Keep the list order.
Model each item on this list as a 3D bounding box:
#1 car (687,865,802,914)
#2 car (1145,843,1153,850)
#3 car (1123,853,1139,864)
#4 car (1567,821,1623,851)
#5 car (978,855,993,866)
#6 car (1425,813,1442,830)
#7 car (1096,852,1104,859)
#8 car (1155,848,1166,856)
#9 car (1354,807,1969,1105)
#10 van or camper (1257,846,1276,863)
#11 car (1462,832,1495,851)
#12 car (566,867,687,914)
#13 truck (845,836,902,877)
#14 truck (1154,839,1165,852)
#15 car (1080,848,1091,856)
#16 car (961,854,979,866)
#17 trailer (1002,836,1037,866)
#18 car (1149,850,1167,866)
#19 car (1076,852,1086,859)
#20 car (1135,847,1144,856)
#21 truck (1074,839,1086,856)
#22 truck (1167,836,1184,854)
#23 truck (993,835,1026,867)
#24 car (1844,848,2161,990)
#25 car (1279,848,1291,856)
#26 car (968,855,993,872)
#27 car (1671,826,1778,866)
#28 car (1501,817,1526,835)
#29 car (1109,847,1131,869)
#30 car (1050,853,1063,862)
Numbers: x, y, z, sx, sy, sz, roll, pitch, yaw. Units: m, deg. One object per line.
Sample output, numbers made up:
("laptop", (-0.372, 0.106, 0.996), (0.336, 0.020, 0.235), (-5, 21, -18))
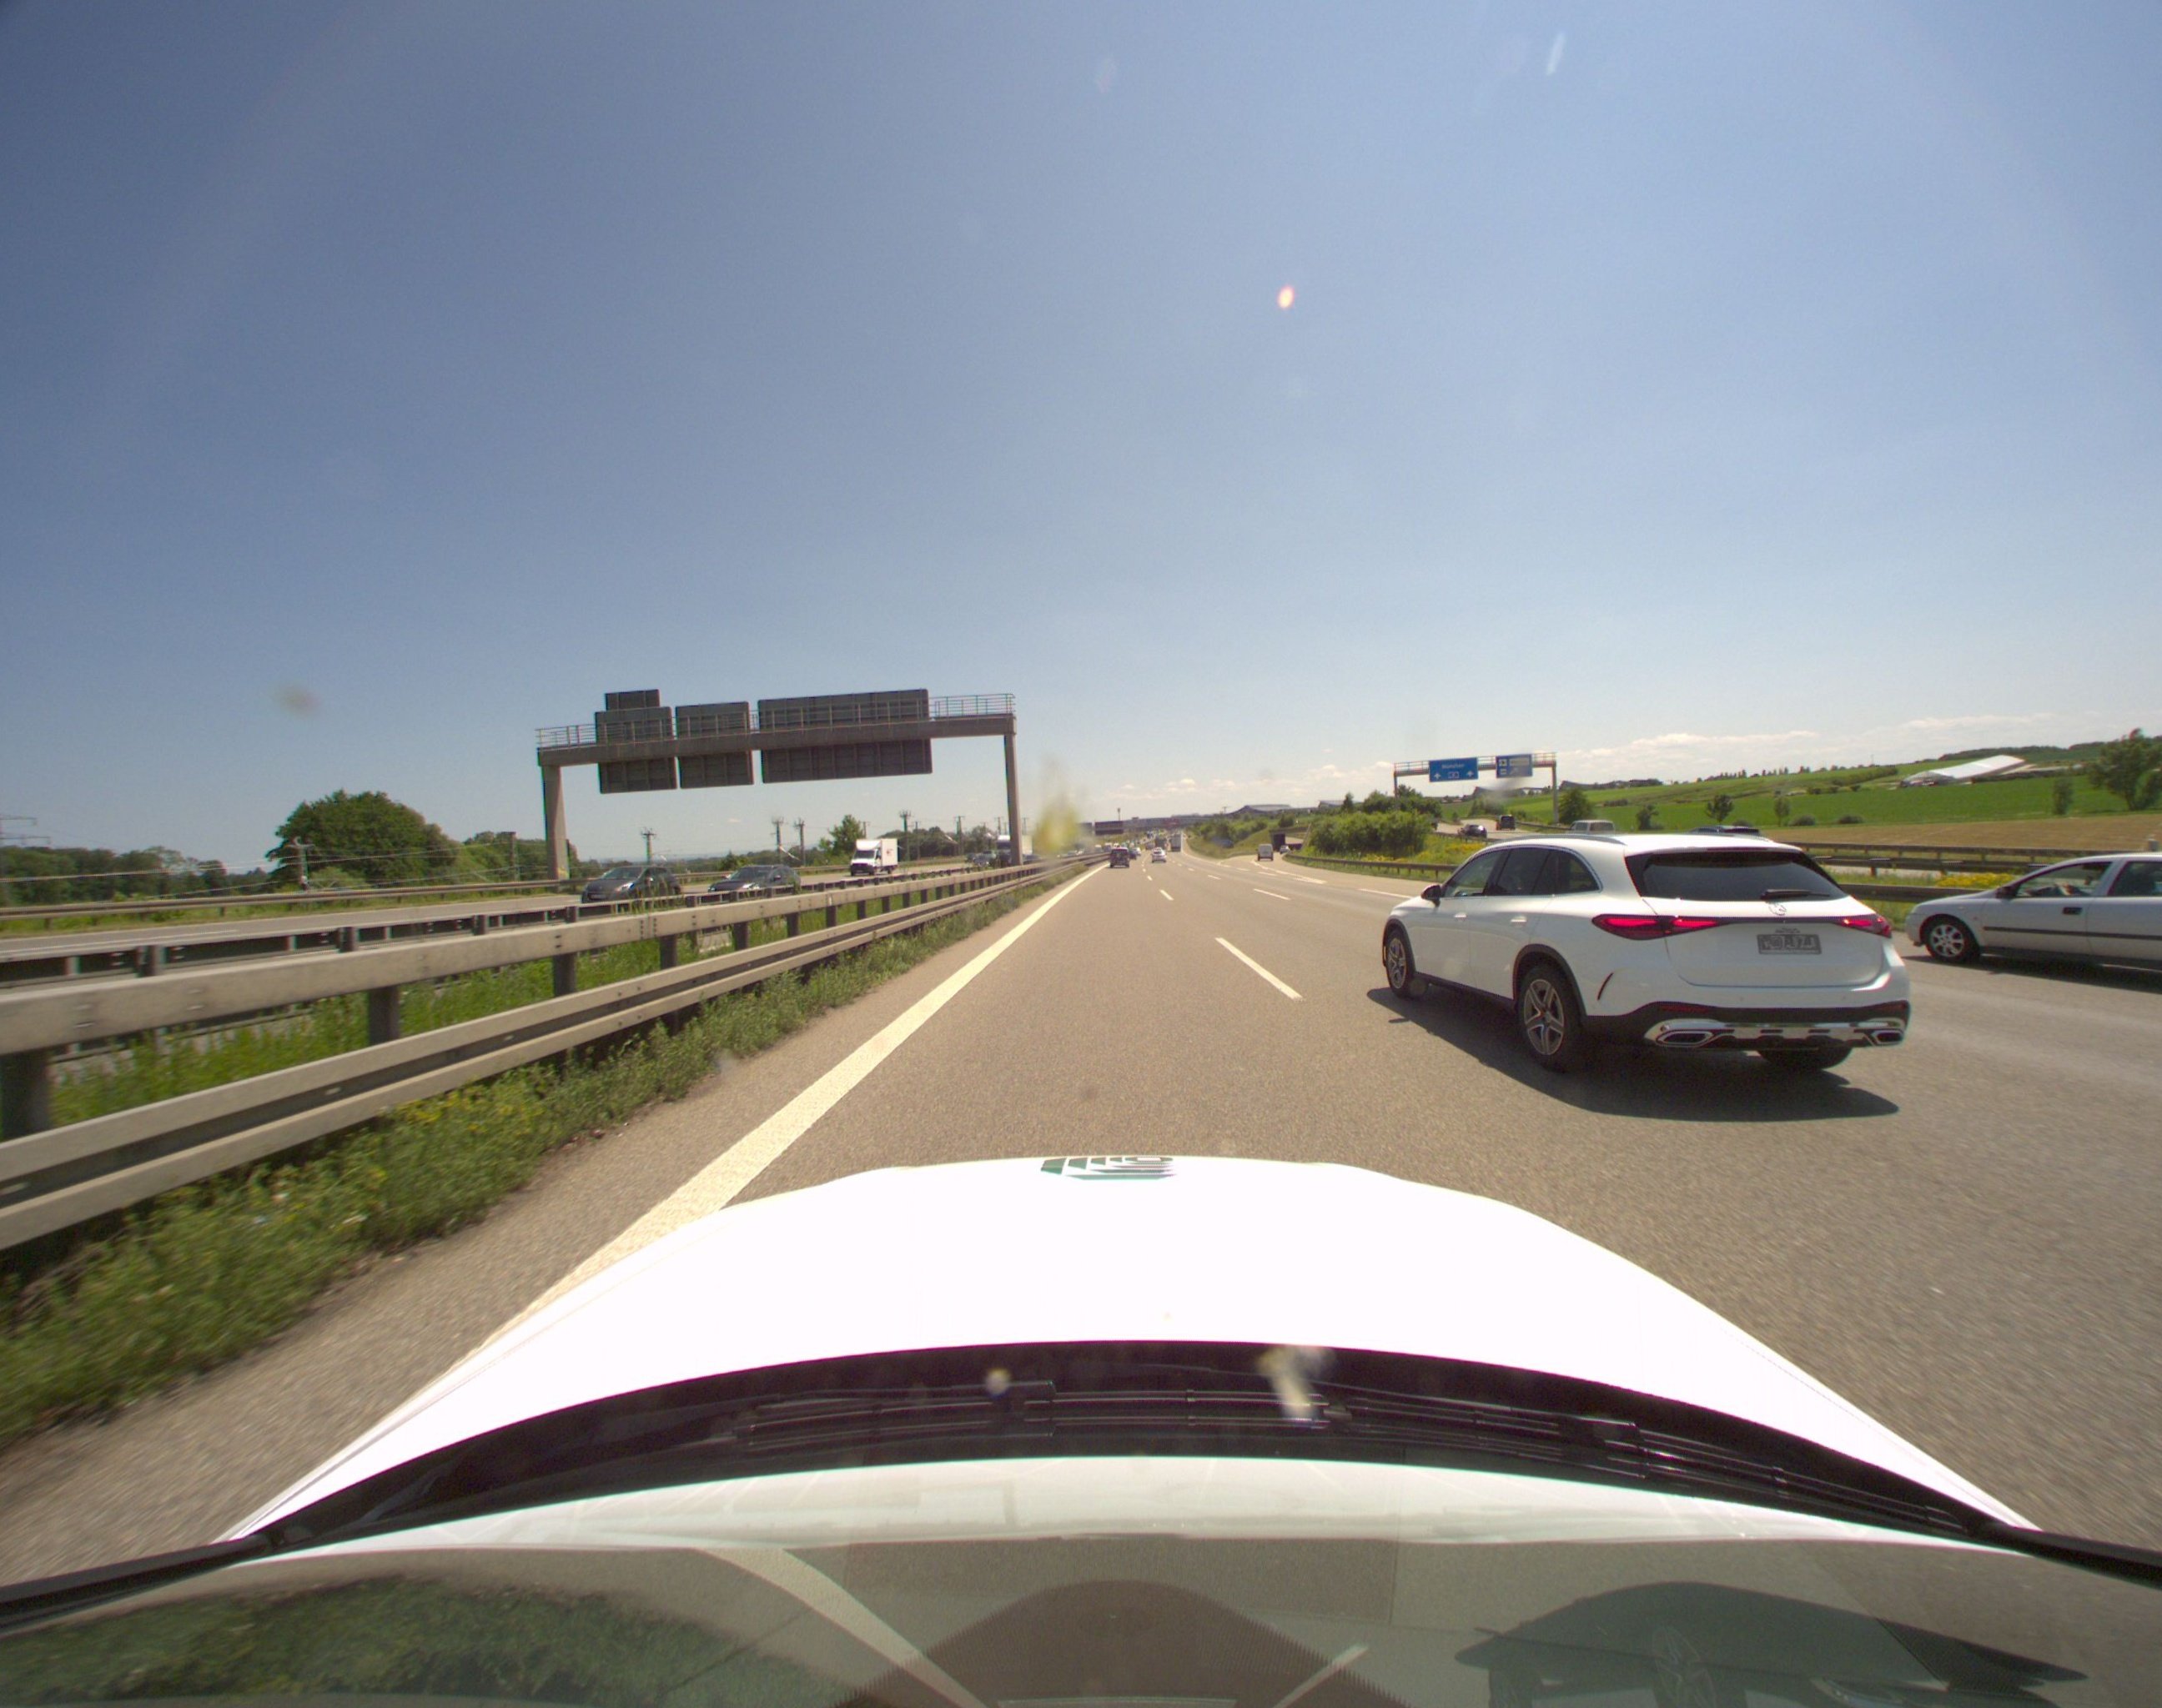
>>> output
("car", (-11.627, 1.172, 28.567), (1.783, 1.464, 4.862), (-1, 0, 3))
("car", (20.678, -2.199, 247.366), (2.176, 2.002, 4.005), (-1, 3, 4))
("car", (7.377, 0.701, 119.869), (1.916, 1.627, 4.526), (-1, -1, 7))
("car", (36.141, -1.202, 57.358), (1.926, 1.923, 4.192), (-1, -1, 11))
("car", (-15.945, 1.096, 135.931), (1.796, 1.749, 4.005), (-1, -1, 4))
("car", (45.505, -4.146, 105.174), (1.976, 2.014, 4.022), (-1, -1, 23))
("car", (4.842, 0.336, 202.290), (1.748, 1.741, 4.726), (-1, 0, 4))
("car", (15.583, -0.420, 159.788), (1.972, 1.473, 4.006), (-2, -1, 5))
("car", (4.111, 0.605, 7.106), (1.891, 1.647, 5.000), (-1, -1, 2))
("van or camper", (22.474, 0.066, 98.938), (2.141, 2.014, 4.318), (-1, -1, 12))
("car", (36.532, -1.104, 74.959), (1.979, 1.596, 4.016), (-1, -1, 15))
("car", (-16.015, 1.251, 28.979), (1.898, 1.420, 4.003), (-1, 0, 3))
("truck", (-17.424, 0.190, 68.900), (2.310, 3.167, 8.119), (-1, 0, 3))
("truck", (20.276, -2.214, 210.970), (2.689, 3.109, 10.674), (-1, -1, 5))
("car", (0.858, -0.448, 157.505), (1.833, 1.460, 5.002), (-1, 0, 4))
("car", (-16.744, 0.906, 123.225), (1.796, 1.749, 4.005), (-1, -1, 4))
("trailer", (-9.154, -0.425, 123.225), (3.207, 4.192, 11.427), (-1, 0, 6))
("car", (9.178, 0.487, 97.689), (1.918, 1.919, 4.521), (-1, -1, 3))
("car", (0.010, 0.376, 185.679), (1.748, 1.481, 4.639), (-1, 0, 4))
("car", (11.202, -0.514, 156.447), (1.568, 1.552, 3.971), (-1, -1, 7))
("truck", (-0.138, -1.767, 217.454), (2.748, 4.245, 6.983), (-1, -1, 3))
("truck", (24.563, -2.370, 211.162), (4.020, 4.261, 11.776), (-1, 2, 5))
("truck", (-9.973, -0.426, 114.900), (3.232, 4.209, 7.705), (-1, 0, 5))
("car", (11.971, 0.665, 9.499), (1.778, 1.437, 4.851), (-1, -1, 3))
("car", (42.719, -0.395, 170.473), (1.977, 1.750, 4.020), (-1, -1, 20))
("car", (-9.703, 0.859, 78.667), (1.735, 1.561, 4.003), (-1, 0, 3))
("car", (26.956, -0.299, 34.286), (1.690, 1.575, 4.138), (-1, -1, 8))
("car", (50.712, -3.257, 95.548), (1.923, 1.923, 4.200), (-1, -1, 20))
("car", (3.572, 0.418, 74.981), (1.918, 1.919, 4.952), (-1, -1, 3))
("car", (-4.252, 0.608, 142.257), (1.833, 1.460, 5.002), (-1, 0, 4))
